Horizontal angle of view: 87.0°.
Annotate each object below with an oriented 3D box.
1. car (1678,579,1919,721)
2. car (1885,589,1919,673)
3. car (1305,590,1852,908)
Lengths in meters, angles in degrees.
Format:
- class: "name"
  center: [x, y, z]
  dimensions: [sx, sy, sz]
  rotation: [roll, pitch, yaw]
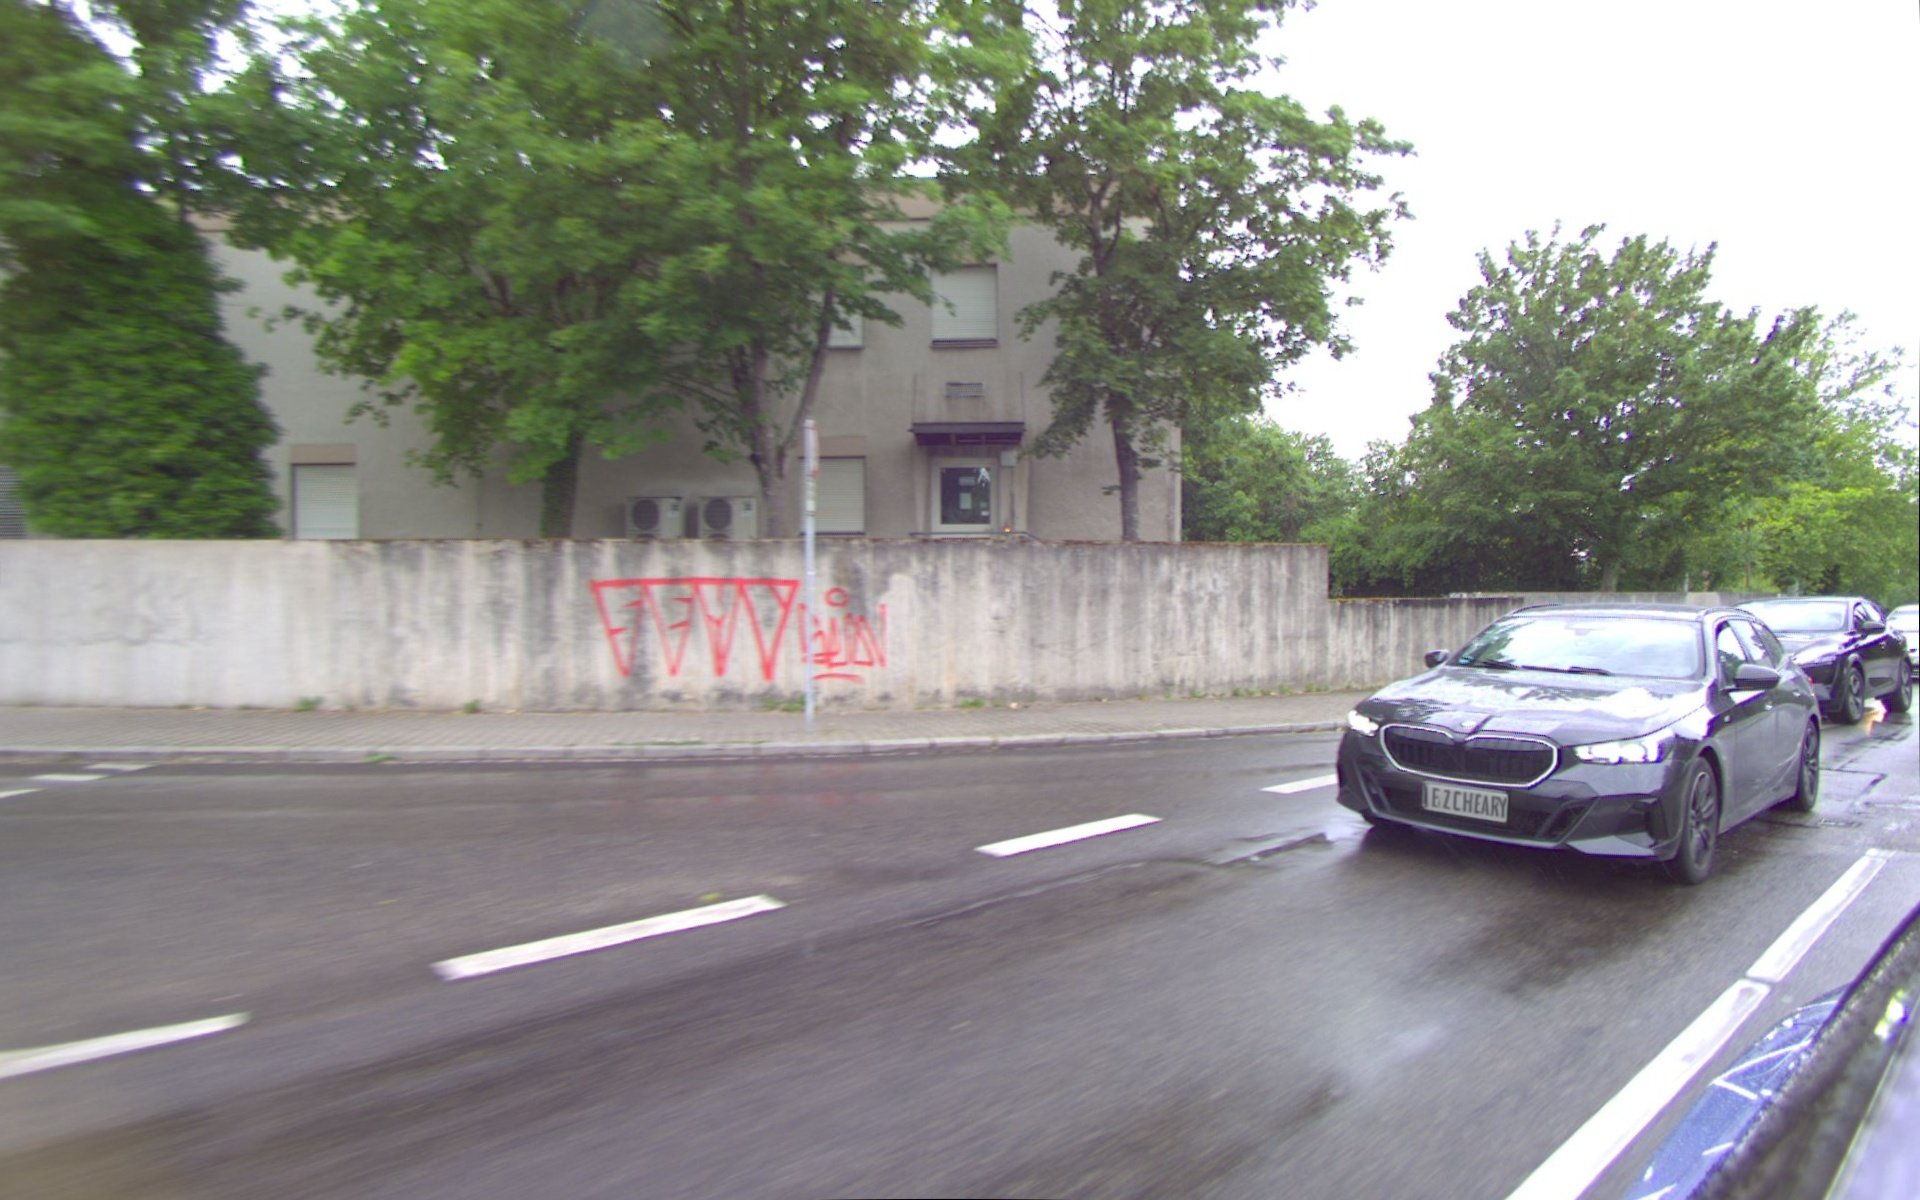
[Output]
- class: "car"
  center: [11.450, 0.583, 13.607]
  dimensions: [4.175, 1.624, 1.794]
  rotation: [0, -1, -38]
- class: "car"
  center: [19.872, 0.589, 20.265]
  dimensions: [3.933, 1.523, 1.638]
  rotation: [-2, 3, -43]
- class: "car"
  center: [4.502, 0.691, 7.006]
  dimensions: [4.694, 1.477, 1.908]
  rotation: [0, 1, -41]
